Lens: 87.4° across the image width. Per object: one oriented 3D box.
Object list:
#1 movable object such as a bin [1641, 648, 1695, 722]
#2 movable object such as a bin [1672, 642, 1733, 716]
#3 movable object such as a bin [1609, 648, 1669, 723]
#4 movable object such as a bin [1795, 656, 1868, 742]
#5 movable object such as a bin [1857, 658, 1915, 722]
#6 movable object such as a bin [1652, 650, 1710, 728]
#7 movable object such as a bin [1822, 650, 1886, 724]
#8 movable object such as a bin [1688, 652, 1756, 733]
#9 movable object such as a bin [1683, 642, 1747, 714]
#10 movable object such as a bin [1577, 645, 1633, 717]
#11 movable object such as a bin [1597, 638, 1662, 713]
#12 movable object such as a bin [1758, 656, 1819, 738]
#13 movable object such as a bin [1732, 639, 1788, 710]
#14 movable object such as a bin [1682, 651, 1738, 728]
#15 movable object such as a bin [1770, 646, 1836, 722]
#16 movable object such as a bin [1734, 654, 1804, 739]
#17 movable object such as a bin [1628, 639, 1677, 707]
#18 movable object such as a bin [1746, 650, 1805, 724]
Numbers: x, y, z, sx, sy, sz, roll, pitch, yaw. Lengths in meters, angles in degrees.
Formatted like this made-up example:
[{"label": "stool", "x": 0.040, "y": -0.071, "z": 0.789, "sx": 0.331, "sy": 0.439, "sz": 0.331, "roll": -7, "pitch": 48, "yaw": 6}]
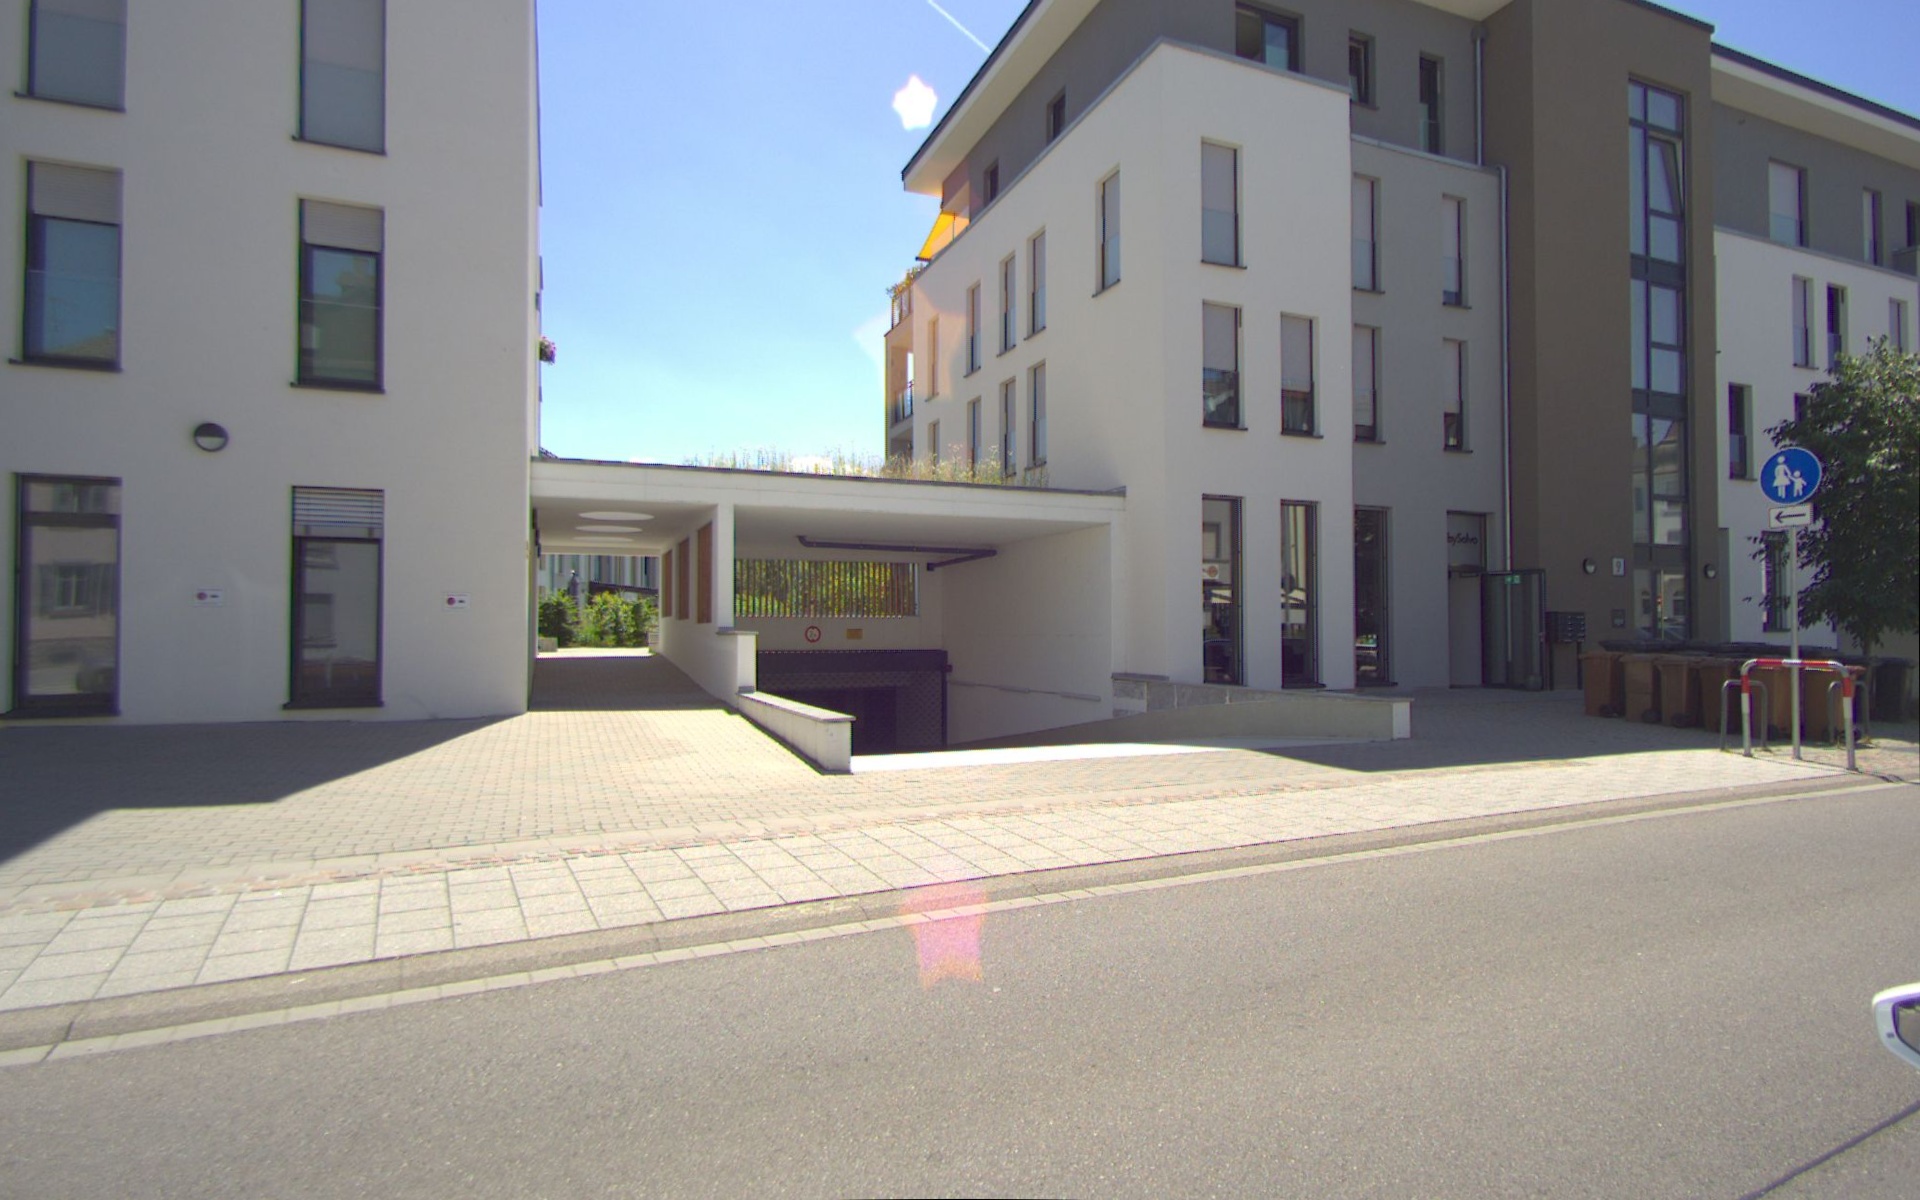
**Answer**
[{"label": "movable object such as a bin", "x": 10.032, "y": 1.195, "z": 14.229, "sx": 0.548, "sy": 1.011, "sz": 0.402, "roll": 1, "pitch": -1, "yaw": -24}, {"label": "movable object such as a bin", "x": 11.111, "y": 1.167, "z": 15.037, "sx": 0.578, "sy": 1.053, "sz": 0.614, "roll": 1, "pitch": -1, "yaw": -40}, {"label": "movable object such as a bin", "x": 9.472, "y": 1.177, "z": 14.011, "sx": 0.518, "sy": 1.011, "sz": 0.482, "roll": 1, "pitch": -1, "yaw": -20}, {"label": "movable object such as a bin", "x": 10.766, "y": 1.211, "z": 12.417, "sx": 0.580, "sy": 1.011, "sz": 0.482, "roll": 1, "pitch": -1, "yaw": -24}, {"label": "movable object such as a bin", "x": 13.345, "y": 1.284, "z": 14.479, "sx": 0.478, "sy": 0.879, "sz": 0.549, "roll": 1, "pitch": -1, "yaw": -40}, {"label": "movable object such as a bin", "x": 9.679, "y": 1.179, "z": 13.493, "sx": 0.516, "sy": 1.011, "sz": 0.423, "roll": 1, "pitch": -1, "yaw": -23}, {"label": "movable object such as a bin", "x": 12.741, "y": 1.224, "z": 14.323, "sx": 0.421, "sy": 1.011, "sz": 0.553, "roll": 1, "pitch": -1, "yaw": -21}, {"label": "movable object such as a bin", "x": 9.838, "y": 1.181, "z": 12.972, "sx": 0.579, "sy": 1.011, "sz": 0.482, "roll": 1, "pitch": -1, "yaw": -24}, {"label": "movable object such as a bin", "x": 11.631, "y": 1.181, "z": 15.472, "sx": 0.599, "sy": 1.053, "sz": 0.670, "roll": 1, "pitch": -1, "yaw": -40}, {"label": "movable object such as a bin", "x": 9.409, "y": 1.165, "z": 14.660, "sx": 0.581, "sy": 1.011, "sz": 0.481, "roll": 1, "pitch": -1, "yaw": -30}, {"label": "movable object such as a bin", "x": 10.449, "y": 1.159, "z": 15.684, "sx": 0.642, "sy": 1.110, "sz": 0.686, "roll": 1, "pitch": -1, "yaw": -40}, {"label": "movable object such as a bin", "x": 10.606, "y": 1.225, "z": 12.861, "sx": 0.548, "sy": 1.011, "sz": 0.402, "roll": 1, "pitch": -1, "yaw": -24}, {"label": "movable object such as a bin", "x": 12.367, "y": 1.141, "z": 15.530, "sx": 0.546, "sy": 1.053, "sz": 0.571, "roll": 1, "pitch": -1, "yaw": -40}, {"label": "movable object such as a bin", "x": 10.208, "y": 1.204, "z": 13.675, "sx": 0.548, "sy": 1.011, "sz": 0.402, "roll": 1, "pitch": -1, "yaw": -24}, {"label": "movable object such as a bin", "x": 12.105, "y": 1.193, "z": 14.430, "sx": 0.553, "sy": 1.033, "sz": 0.552, "roll": 1, "pitch": -1, "yaw": -27}, {"label": "movable object such as a bin", "x": 10.083, "y": 1.185, "z": 12.522, "sx": 0.580, "sy": 1.011, "sz": 0.481, "roll": 1, "pitch": -1, "yaw": -25}, {"label": "movable object such as a bin", "x": 11.194, "y": 1.165, "z": 16.234, "sx": 0.478, "sy": 1.053, "sz": 0.549, "roll": 1, "pitch": -1, "yaw": -40}, {"label": "movable object such as a bin", "x": 11.476, "y": 1.213, "z": 14.146, "sx": 0.400, "sy": 1.011, "sz": 0.550, "roll": 1, "pitch": -2, "yaw": -36}]
